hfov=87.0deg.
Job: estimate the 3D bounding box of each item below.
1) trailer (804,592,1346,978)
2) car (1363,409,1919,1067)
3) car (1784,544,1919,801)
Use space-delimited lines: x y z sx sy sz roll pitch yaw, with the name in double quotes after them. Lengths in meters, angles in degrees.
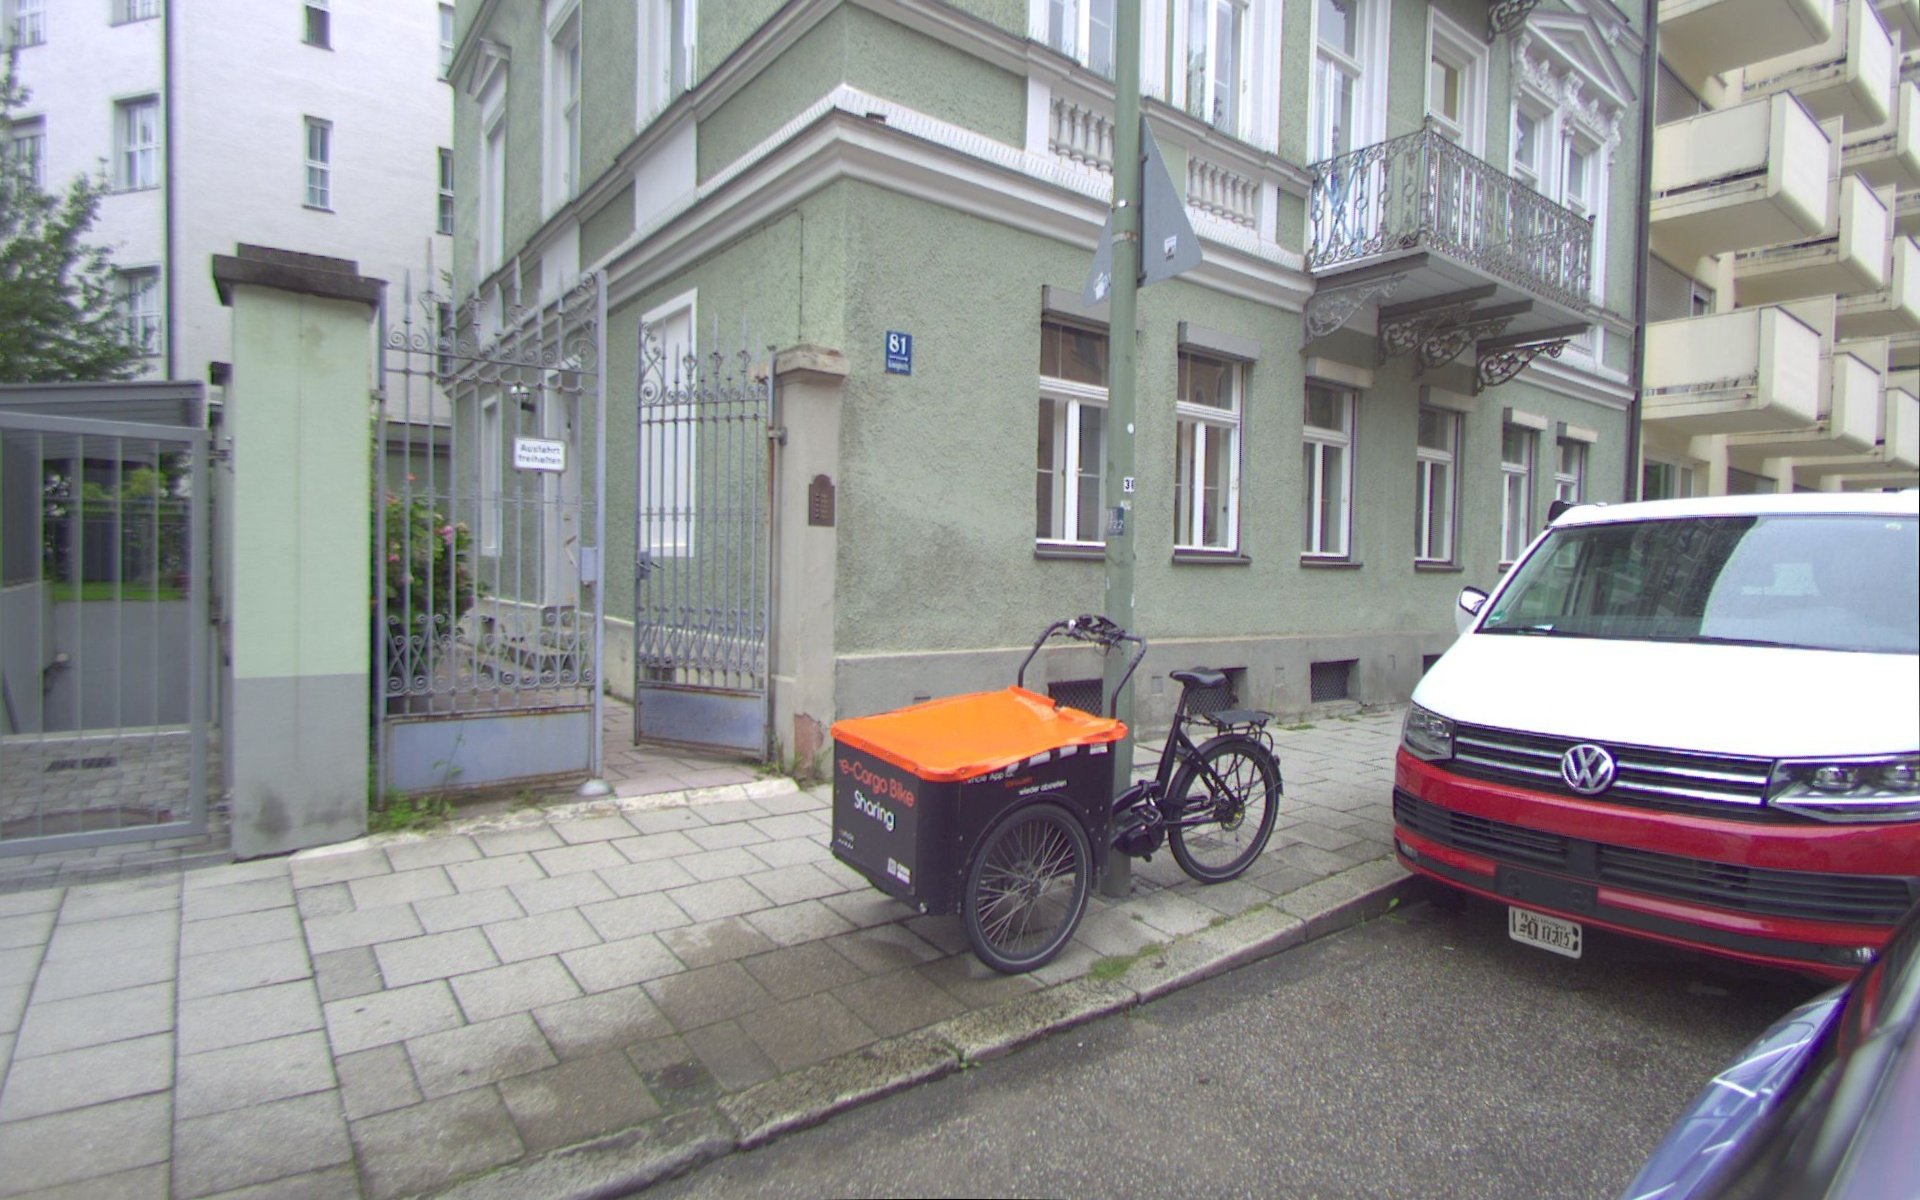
0.527 0.609 4.301 2.122 1.197 0.946 0 5 -33 "trailer"
4.091 0.399 5.005 4.507 1.920 1.858 0 0 -37 "car"
8.488 0.515 8.267 4.470 1.780 1.832 0 0 -39 "car"
